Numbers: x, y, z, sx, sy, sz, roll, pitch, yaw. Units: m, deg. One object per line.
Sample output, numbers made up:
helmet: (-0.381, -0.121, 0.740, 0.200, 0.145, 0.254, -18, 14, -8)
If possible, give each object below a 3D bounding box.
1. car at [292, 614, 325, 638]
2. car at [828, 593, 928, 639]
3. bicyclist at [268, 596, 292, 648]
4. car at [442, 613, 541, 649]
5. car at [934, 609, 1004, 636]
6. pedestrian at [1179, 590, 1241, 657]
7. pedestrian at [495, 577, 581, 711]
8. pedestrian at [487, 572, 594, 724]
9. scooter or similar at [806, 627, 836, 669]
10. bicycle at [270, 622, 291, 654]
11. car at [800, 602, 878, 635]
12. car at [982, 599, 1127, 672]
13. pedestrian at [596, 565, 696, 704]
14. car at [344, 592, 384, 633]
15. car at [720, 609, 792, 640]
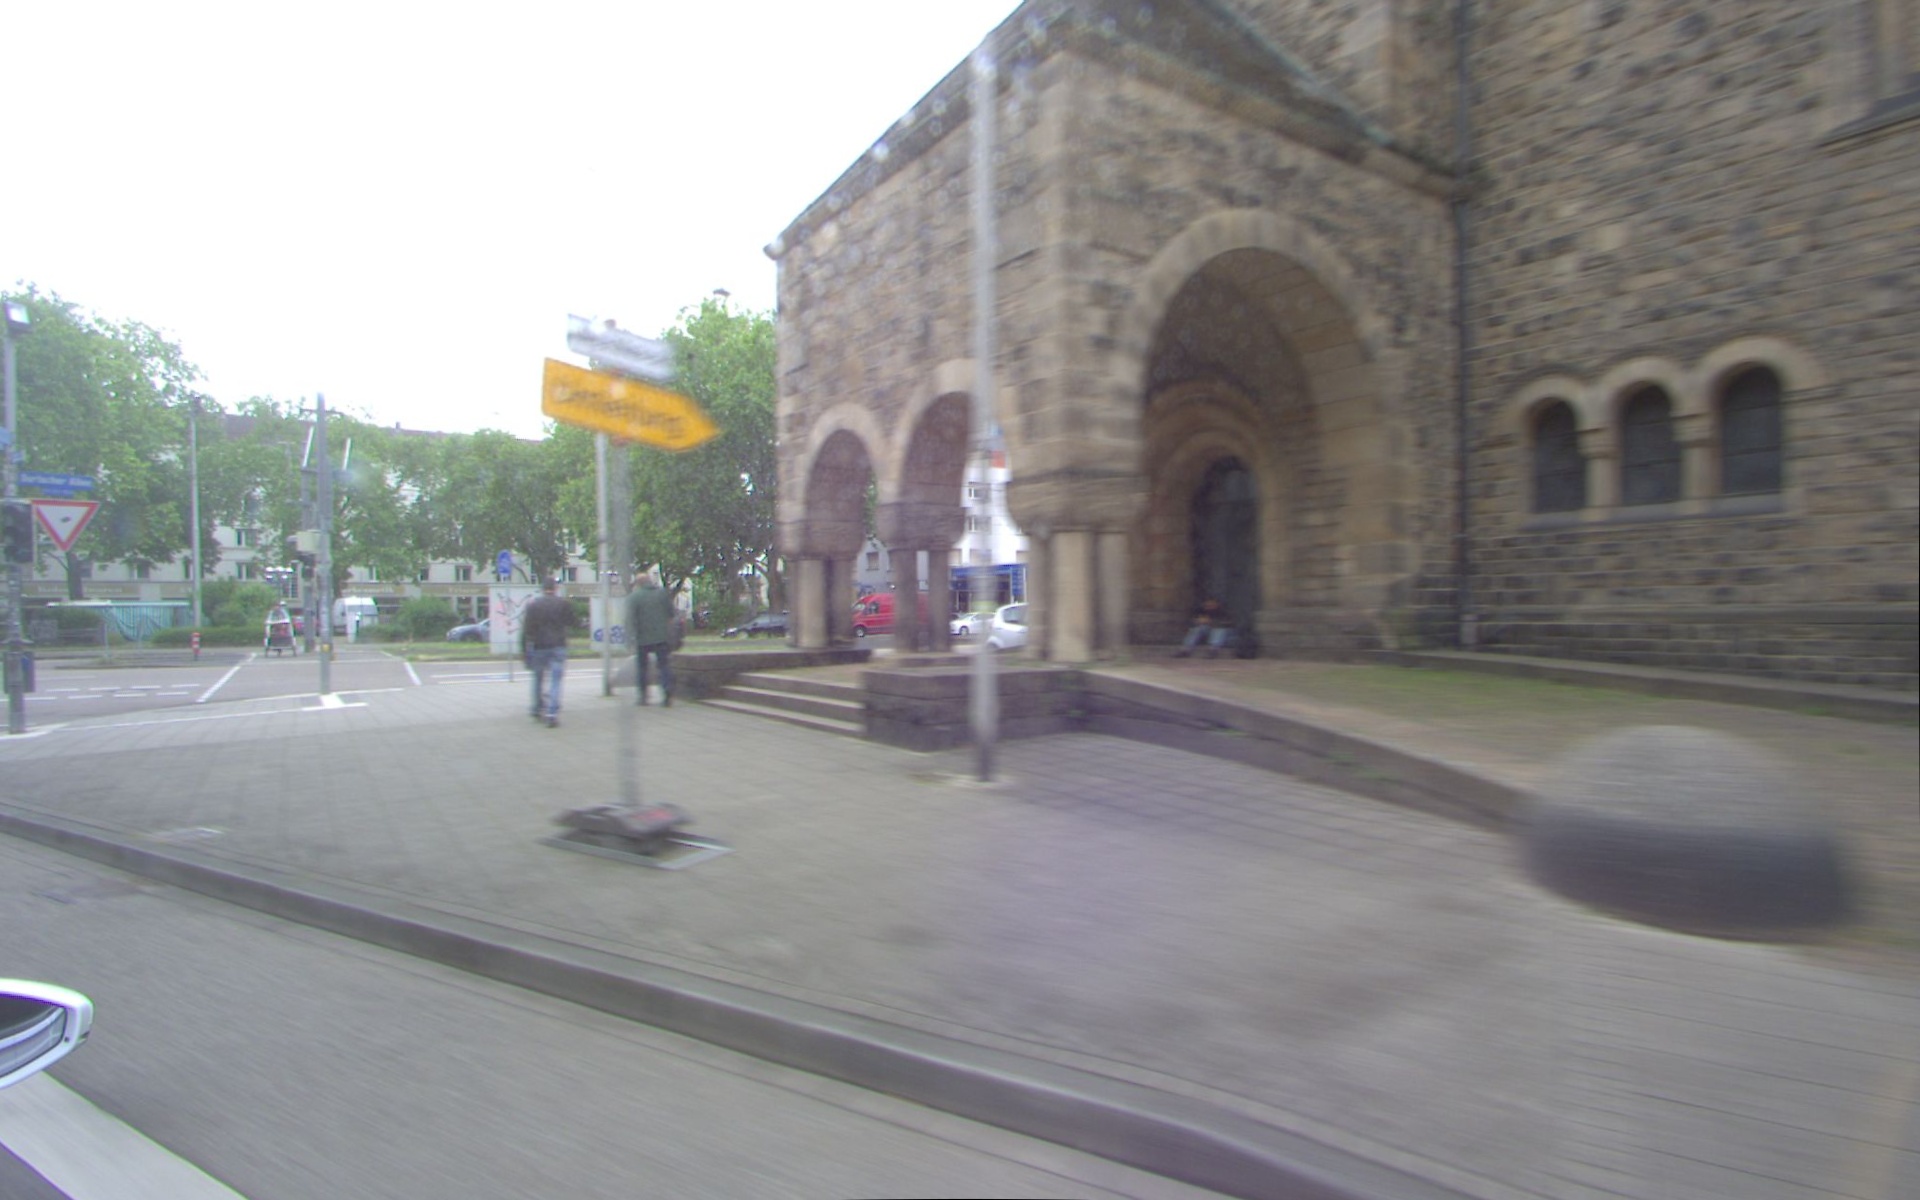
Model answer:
car: (-42.349, 1.660, 65.186, 1.647, 1.535, 3.916, 0, 0, -31)
car: (-4.681, 0.879, 57.673, 5.538, 2.572, 1.979, 0, 0, -35)
bicyclist: (-22.560, 0.726, 33.230, 0.608, 1.676, 0.749, -1, 0, -36)
car: (-21.714, 1.407, 46.425, 3.938, 1.582, 1.676, 0, 0, -35)
car: (0.553, 1.380, 61.427, 4.096, 1.550, 1.676, 0, 0, -35)
pedestrian: (3.690, 0.339, 14.805, 0.665, 0.964, 0.611, -1, 0, -36)
pedestrian: (-5.604, 0.557, 13.297, 0.957, 1.696, 0.630, 0, 3, 39)
pedestrian: (-4.912, 0.536, 11.741, 0.955, 1.709, 0.672, 0, 2, 32)
scooter or similar: (-3.651, 1.248, 26.322, 0.762, 1.067, 0.238, -1, 0, -33)
bicycle: (-22.515, 1.254, 33.185, 0.546, 1.009, 2.047, -1, 0, -35)
car: (-8.356, 1.260, 69.201, 5.022, 2.123, 1.979, 0, 0, -35)
car: (2.121, 0.792, 23.240, 1.595, 1.550, 3.448, -1, -1, -31)
pedestrian: (-4.220, 0.440, 13.480, 0.955, 1.783, 0.802, 0, 2, 32)
car: (-40.462, 0.845, 68.001, 2.211, 2.674, 5.417, 0, 0, -31)
car: (-10.939, 1.320, 53.691, 3.422, 1.582, 1.676, 0, 0, -35)
